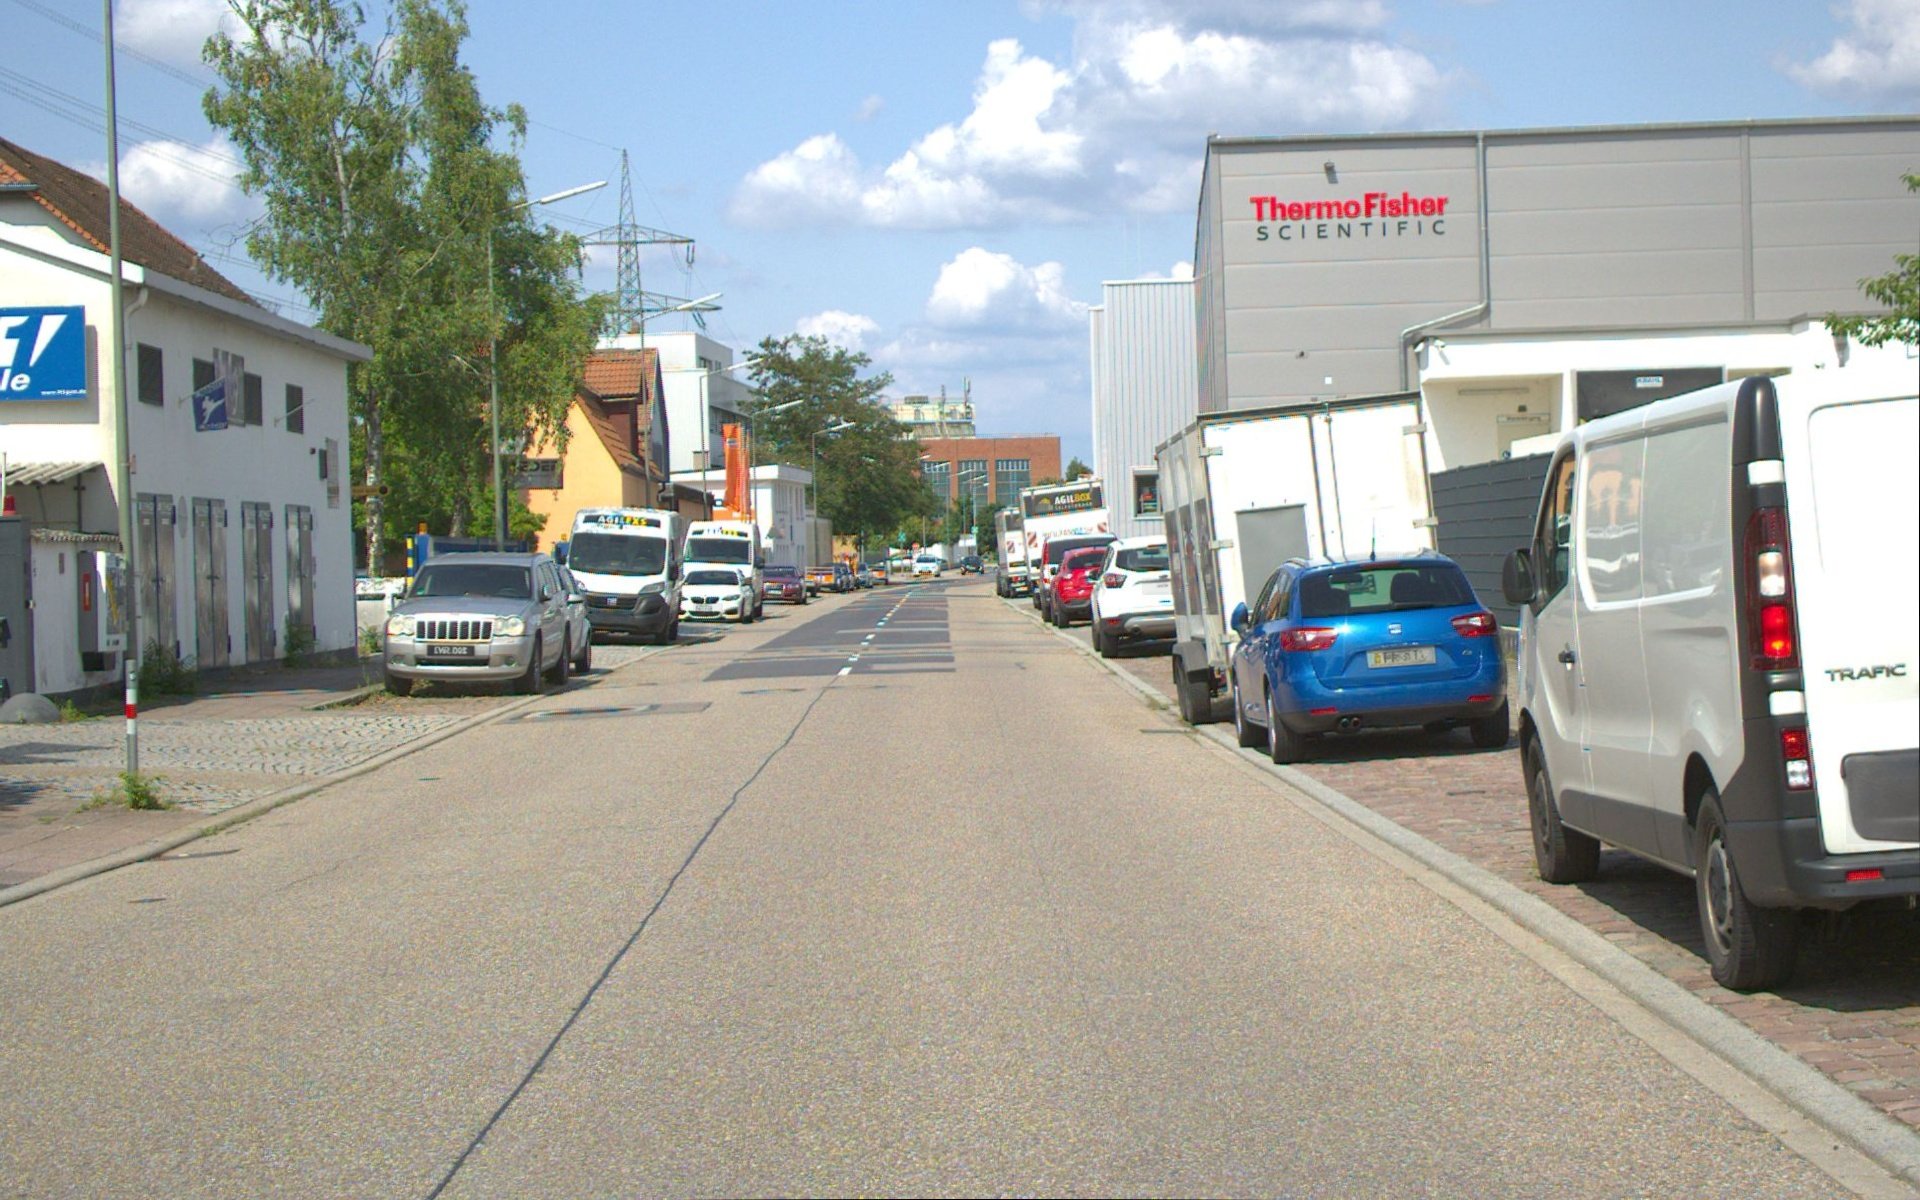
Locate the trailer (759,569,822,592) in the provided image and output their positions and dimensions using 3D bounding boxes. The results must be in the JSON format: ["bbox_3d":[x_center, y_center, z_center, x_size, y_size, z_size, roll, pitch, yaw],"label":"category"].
[{"bbox_3d":[-7.039,-0.813,143.288,2.362,0.890,5.569,0,0,0],"label":"trailer"}]

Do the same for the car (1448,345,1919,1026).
[{"bbox_3d":[3.302,0.197,13.047,1.993,2.007,5.650,-2,1,0],"label":"car"}]

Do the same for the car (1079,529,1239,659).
[{"bbox_3d":[2.867,-0.128,50.479,1.935,1.687,4.680,-4,1,0],"label":"car"}]

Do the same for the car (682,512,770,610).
[{"bbox_3d":[-6.284,-1.039,92.919,2.026,2.552,6.840,0,0,-1],"label":"car"}]

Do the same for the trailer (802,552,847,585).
[{"bbox_3d":[-6.477,-1.518,164.498,1.993,1.551,4.253,-1,1,0],"label":"trailer"}]

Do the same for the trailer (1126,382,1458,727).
[{"bbox_3d":[2.937,-0.398,31.974,2.204,2.727,6.222,-4,0,-1],"label":"trailer"}]

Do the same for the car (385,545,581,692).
[{"bbox_3d":[-5.924,0.192,43.187,1.790,1.713,4.751,1,1,0],"label":"car"}]

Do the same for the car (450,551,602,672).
[{"bbox_3d":[-6.042,0.137,48.151,1.609,1.568,3.009,2,1,2],"label":"car"}]

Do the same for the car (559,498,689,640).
[{"bbox_3d":[-6.371,-0.581,65.900,2.030,2.549,6.658,1,0,-2],"label":"car"}]

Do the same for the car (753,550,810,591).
[{"bbox_3d":[-6.439,-1.055,124.462,1.762,1.442,4.741,0,0,0],"label":"car"}]

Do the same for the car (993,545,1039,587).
[{"bbox_3d":[2.250,-1.344,138.198,1.768,1.607,3.873,-2,0,1],"label":"car"}]

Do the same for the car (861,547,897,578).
[{"bbox_3d":[-4.783,-2.214,203.331,1.922,1.788,4.000,0,0,2],"label":"car"}]

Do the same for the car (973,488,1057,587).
[{"bbox_3d":[1.982,-2.246,125.574,2.388,3.351,6.646,-4,1,-3],"label":"car"}]

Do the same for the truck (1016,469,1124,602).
[{"bbox_3d":[2.973,-1.748,94.565,2.458,3.282,6.817,-6,0,0],"label":"truck"}]

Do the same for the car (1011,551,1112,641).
[{"bbox_3d":[2.003,-0.092,68.907,1.704,1.619,4.093,-5,0,-1],"label":"car"}]

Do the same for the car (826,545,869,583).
[{"bbox_3d":[-5.873,-1.874,179.853,1.994,2.007,4.000,0,0,2],"label":"car"}]

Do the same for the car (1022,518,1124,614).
[{"bbox_3d":[2.500,-0.770,77.065,2.054,1.897,5.147,-5,1,1],"label":"car"}]

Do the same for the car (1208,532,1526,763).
[{"bbox_3d":[2.908,0.312,25.358,1.690,1.456,4.071,-4,0,-1],"label":"car"}]

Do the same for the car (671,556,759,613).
[{"bbox_3d":[-6.070,-0.395,85.655,1.796,1.392,4.501,0,0,1],"label":"car"}]
